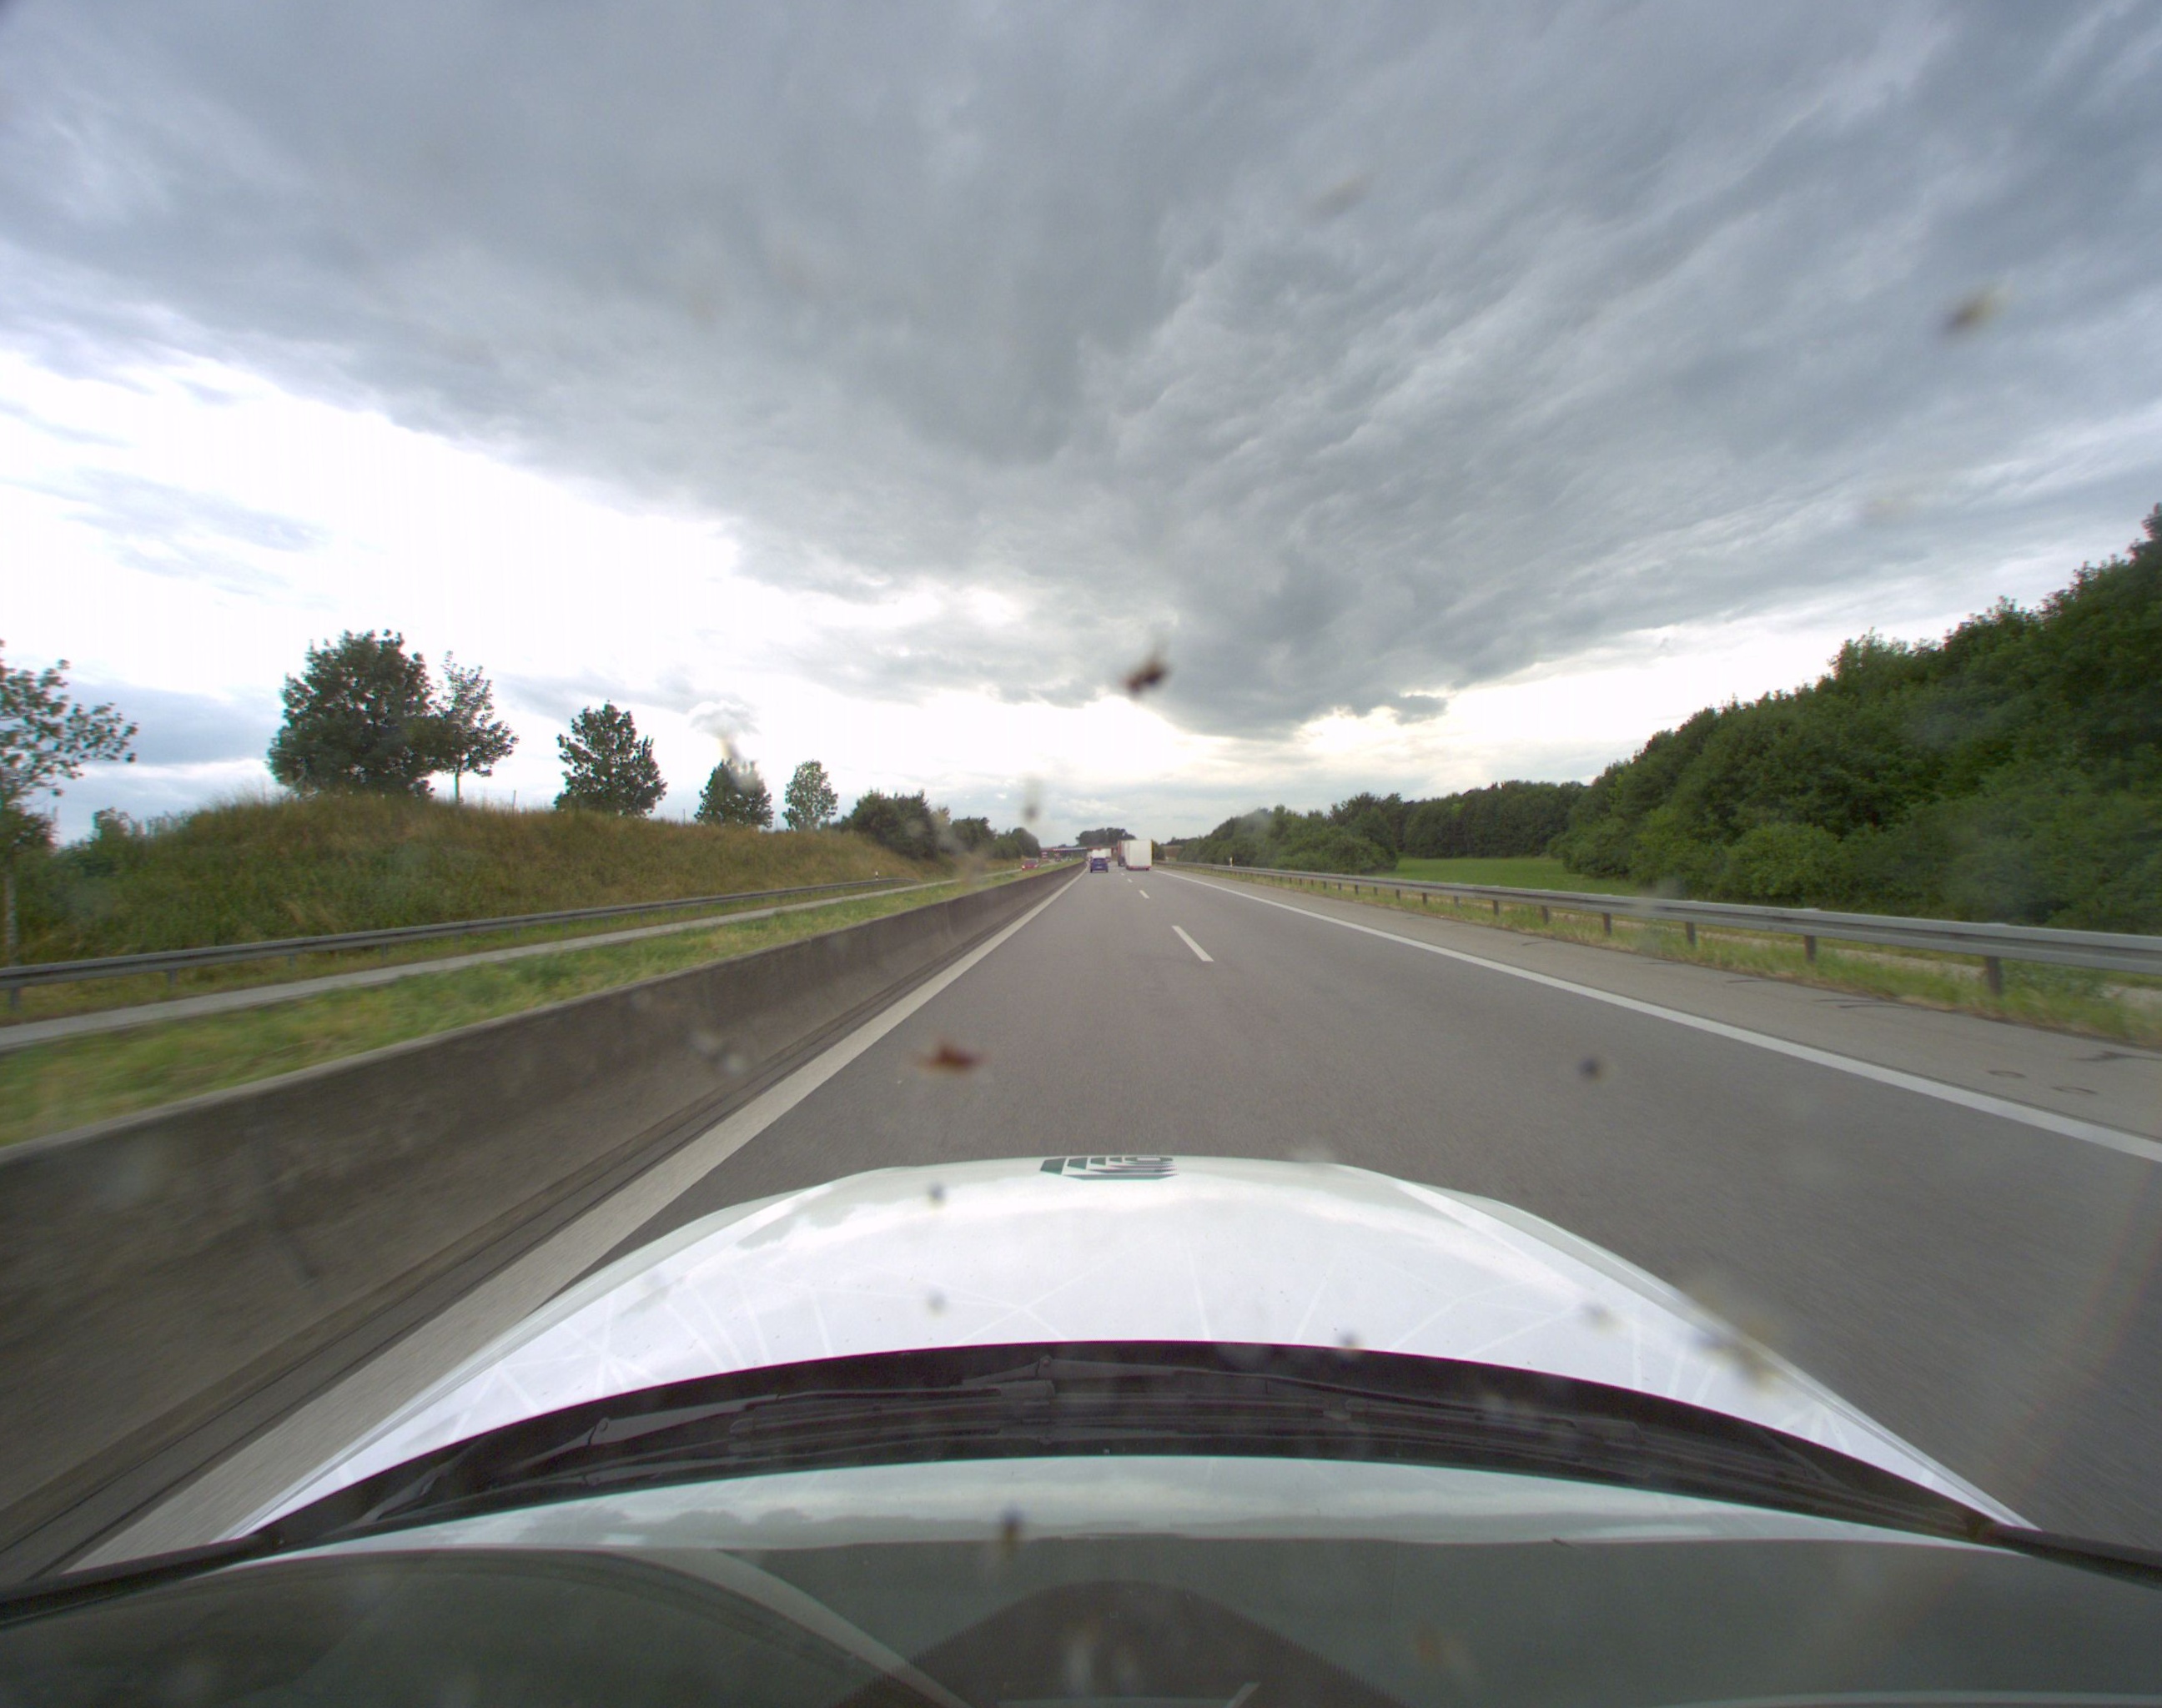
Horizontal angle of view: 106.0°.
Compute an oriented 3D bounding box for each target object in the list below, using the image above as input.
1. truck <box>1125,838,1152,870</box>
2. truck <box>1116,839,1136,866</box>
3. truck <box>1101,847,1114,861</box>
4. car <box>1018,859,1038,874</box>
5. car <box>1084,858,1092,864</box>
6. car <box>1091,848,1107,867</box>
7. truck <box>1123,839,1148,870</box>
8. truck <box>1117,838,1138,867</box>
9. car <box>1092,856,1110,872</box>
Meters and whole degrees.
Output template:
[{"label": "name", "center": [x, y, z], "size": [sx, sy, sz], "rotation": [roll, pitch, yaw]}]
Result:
[{"label": "truck", "center": [5.968, 0.021, 84.820], "size": [2.406, 3.222, 7.145], "rotation": [-1, 0, 1]}, {"label": "truck", "center": [6.973, -0.249, 126.906], "size": [2.664, 4.045, 5.513], "rotation": [-2, 0, 1]}, {"label": "truck", "center": [7.547, 0.044, 233.844], "size": [3.101, 3.689, 9.319], "rotation": [-4, 0, -1]}, {"label": "car", "center": [-6.047, 1.394, 93.983], "size": [1.839, 1.571, 4.362], "rotation": [-3, 0, 1]}, {"label": "car", "center": [2.068, 2.064, 236.789], "size": [1.988, 1.684, 3.998], "rotation": [-1, 0, -1]}, {"label": "car", "center": [2.525, 0.542, 113.937], "size": [2.123, 2.482, 5.839], "rotation": [-2, 0, 1]}, {"label": "truck", "center": [6.145, 0.075, 92.012], "size": [2.421, 3.243, 7.248], "rotation": [-1, 0, 1]}, {"label": "truck", "center": [6.884, -0.233, 121.523], "size": [2.664, 4.045, 11.109], "rotation": [-2, 0, 1]}, {"label": "car", "center": [1.906, 0.943, 77.620], "size": [1.657, 1.407, 3.649], "rotation": [-1, 0, 1]}]
